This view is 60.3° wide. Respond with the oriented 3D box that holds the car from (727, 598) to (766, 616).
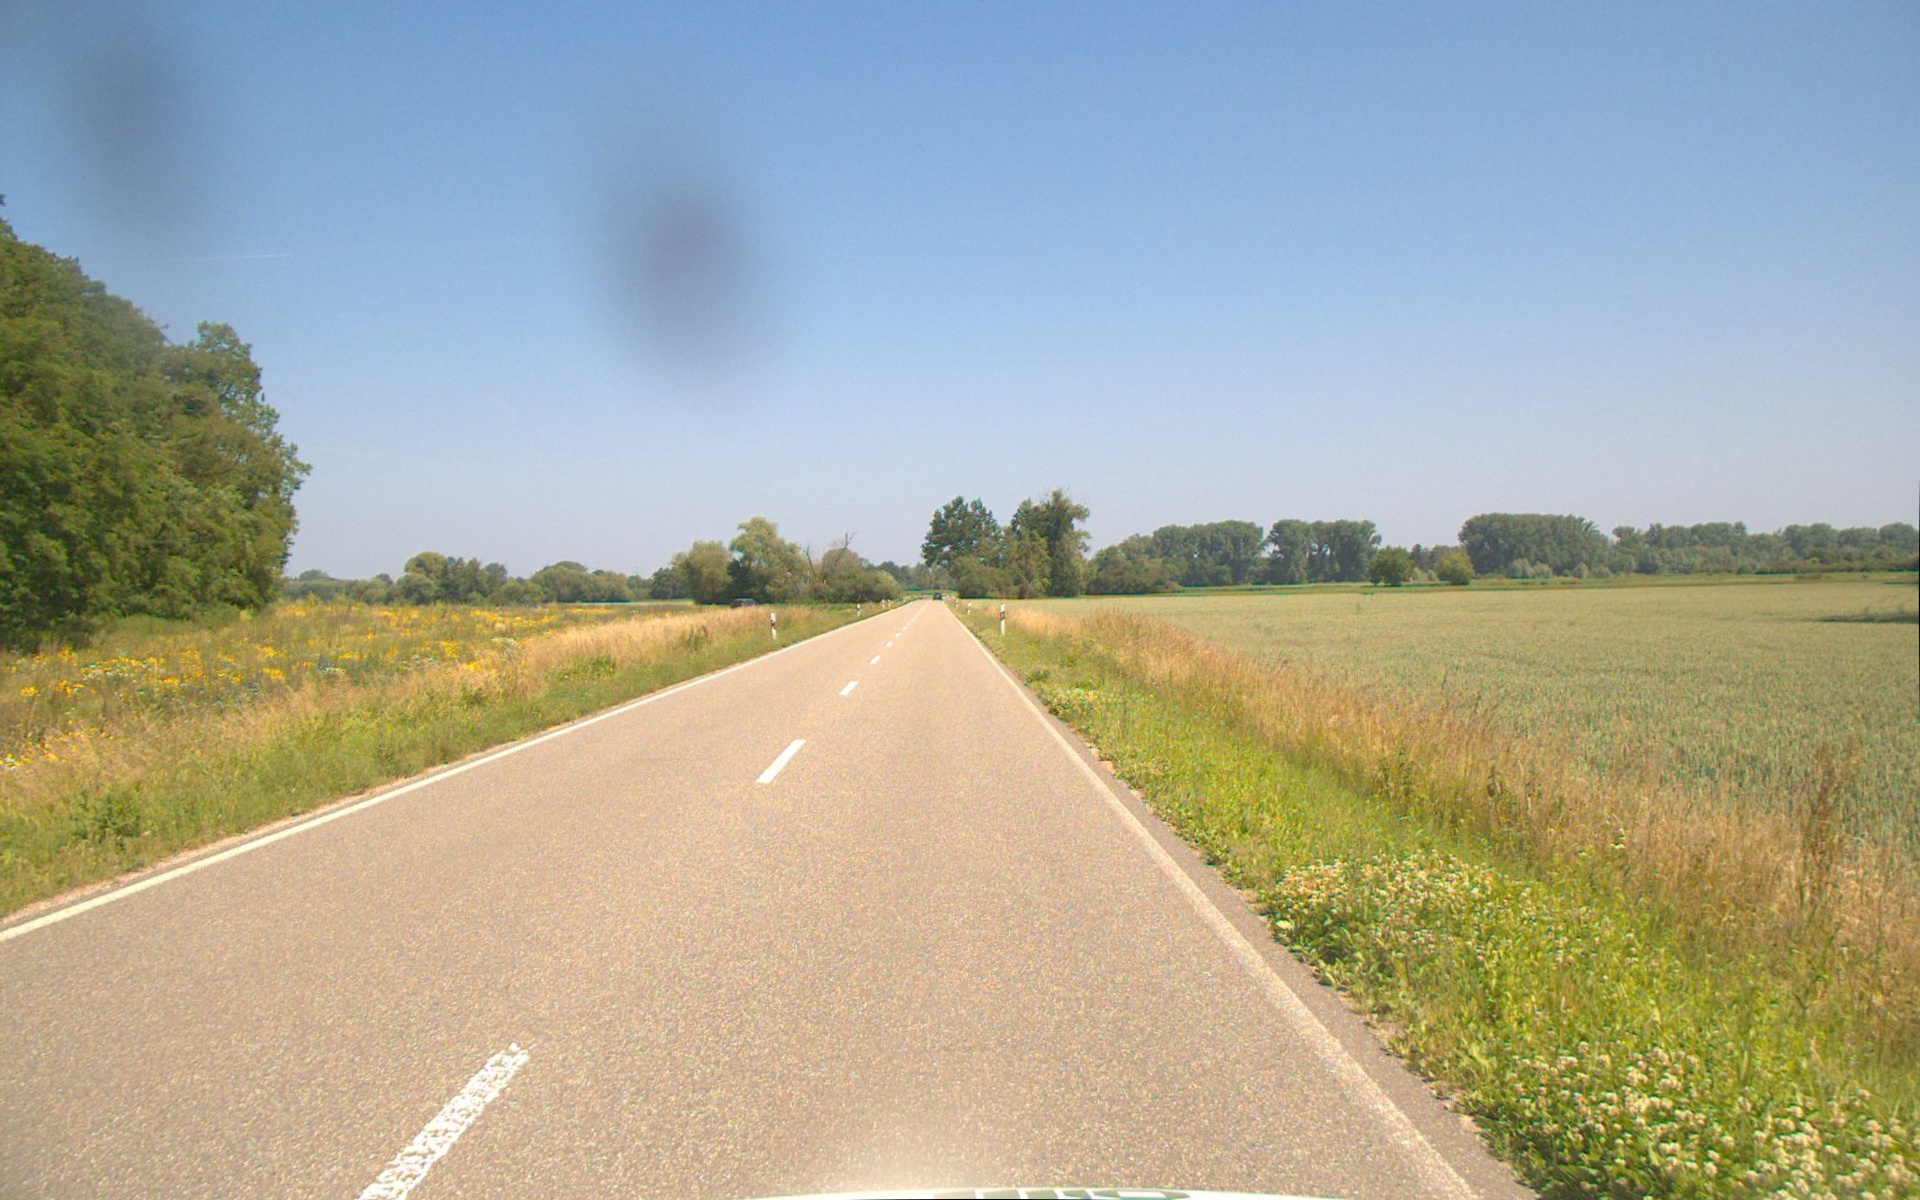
[{"bbox_3d":[-21.587,0.668,167.183,1.718,1.680,4.527,-1,0,24],"label":"car"}]
